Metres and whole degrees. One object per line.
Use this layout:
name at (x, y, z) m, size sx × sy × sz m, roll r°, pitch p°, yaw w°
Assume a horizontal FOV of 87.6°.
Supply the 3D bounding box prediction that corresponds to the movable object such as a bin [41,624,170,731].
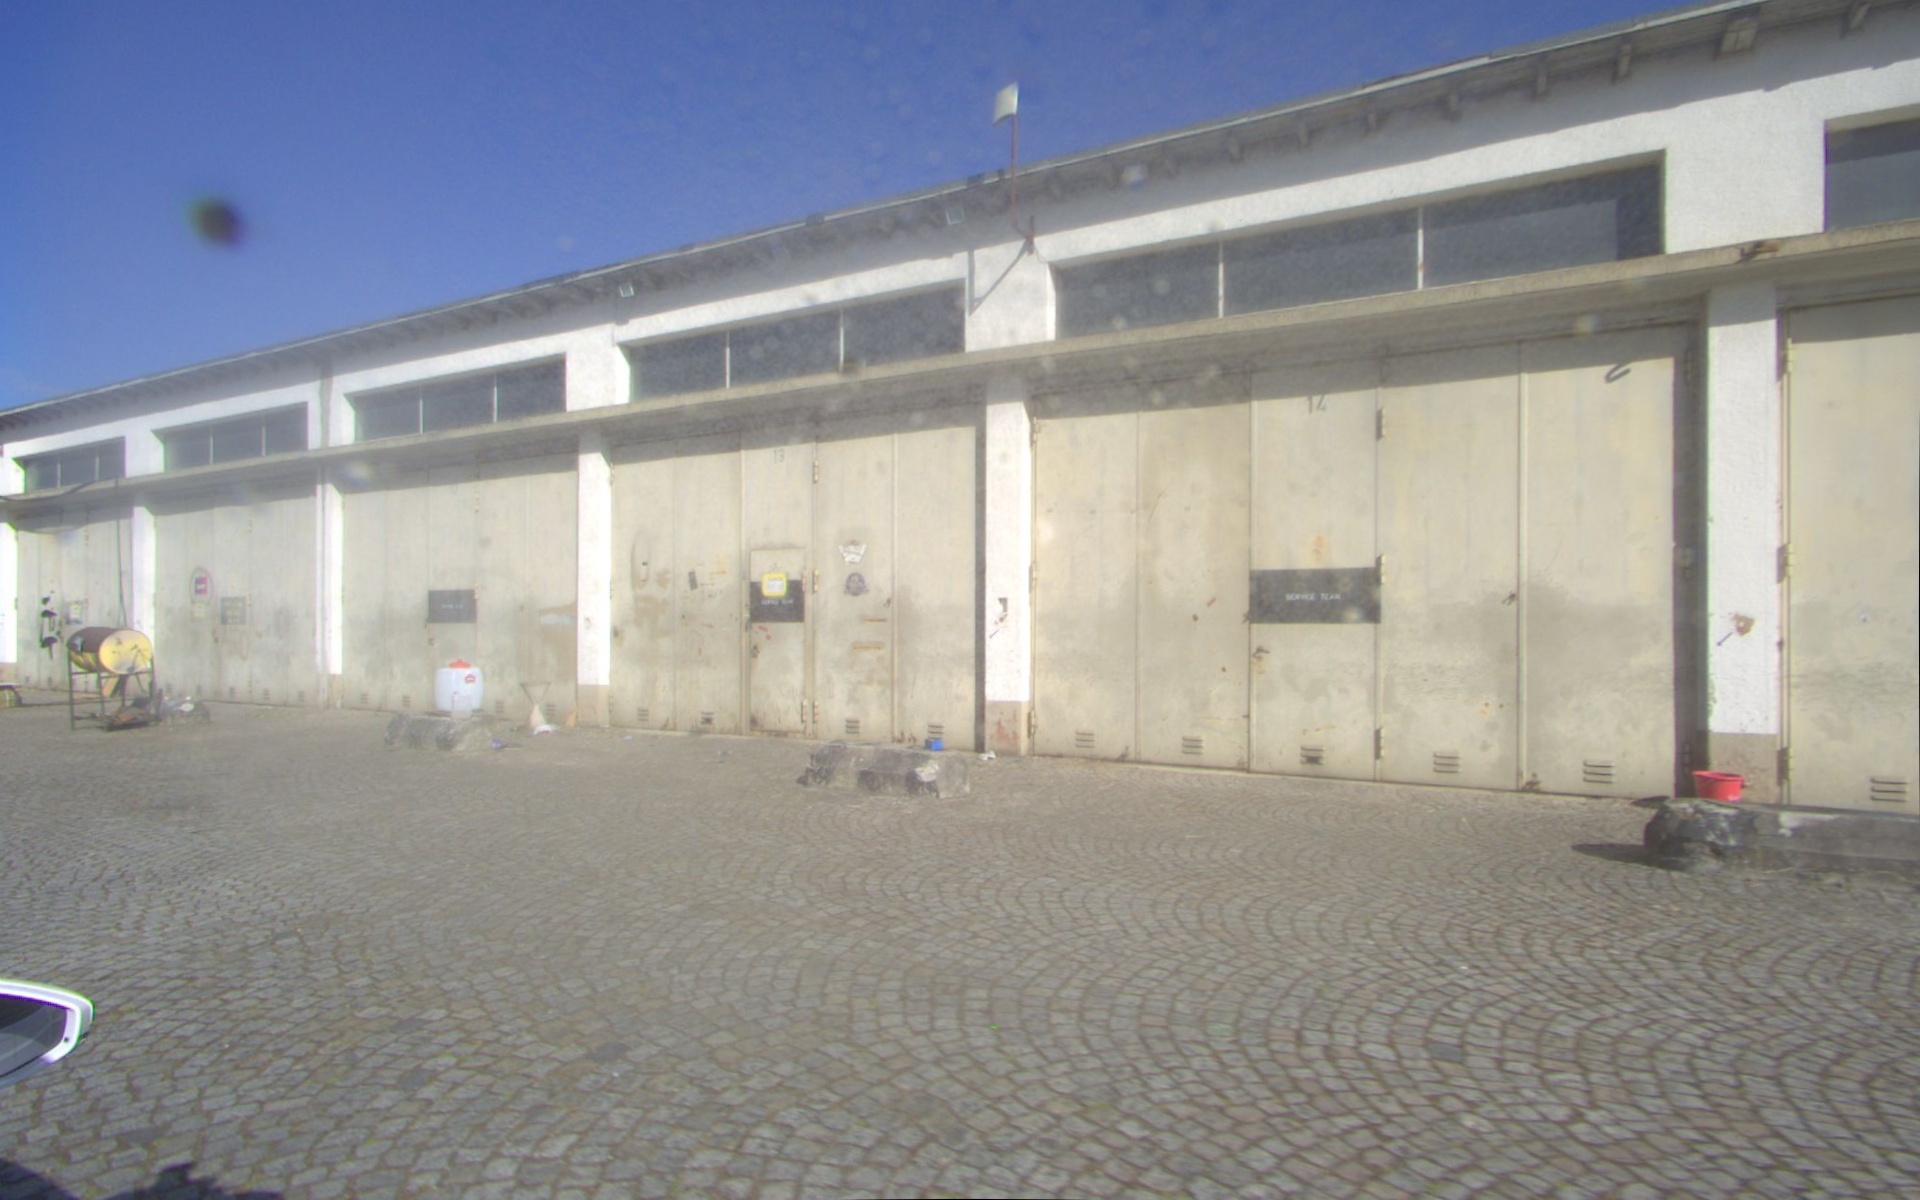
movable object such as a bin at (-11.323, 1.001, 13.282) m, size 1.259 × 1.349 × 0.824 m, roll 0°, pitch -1°, yaw 24°
